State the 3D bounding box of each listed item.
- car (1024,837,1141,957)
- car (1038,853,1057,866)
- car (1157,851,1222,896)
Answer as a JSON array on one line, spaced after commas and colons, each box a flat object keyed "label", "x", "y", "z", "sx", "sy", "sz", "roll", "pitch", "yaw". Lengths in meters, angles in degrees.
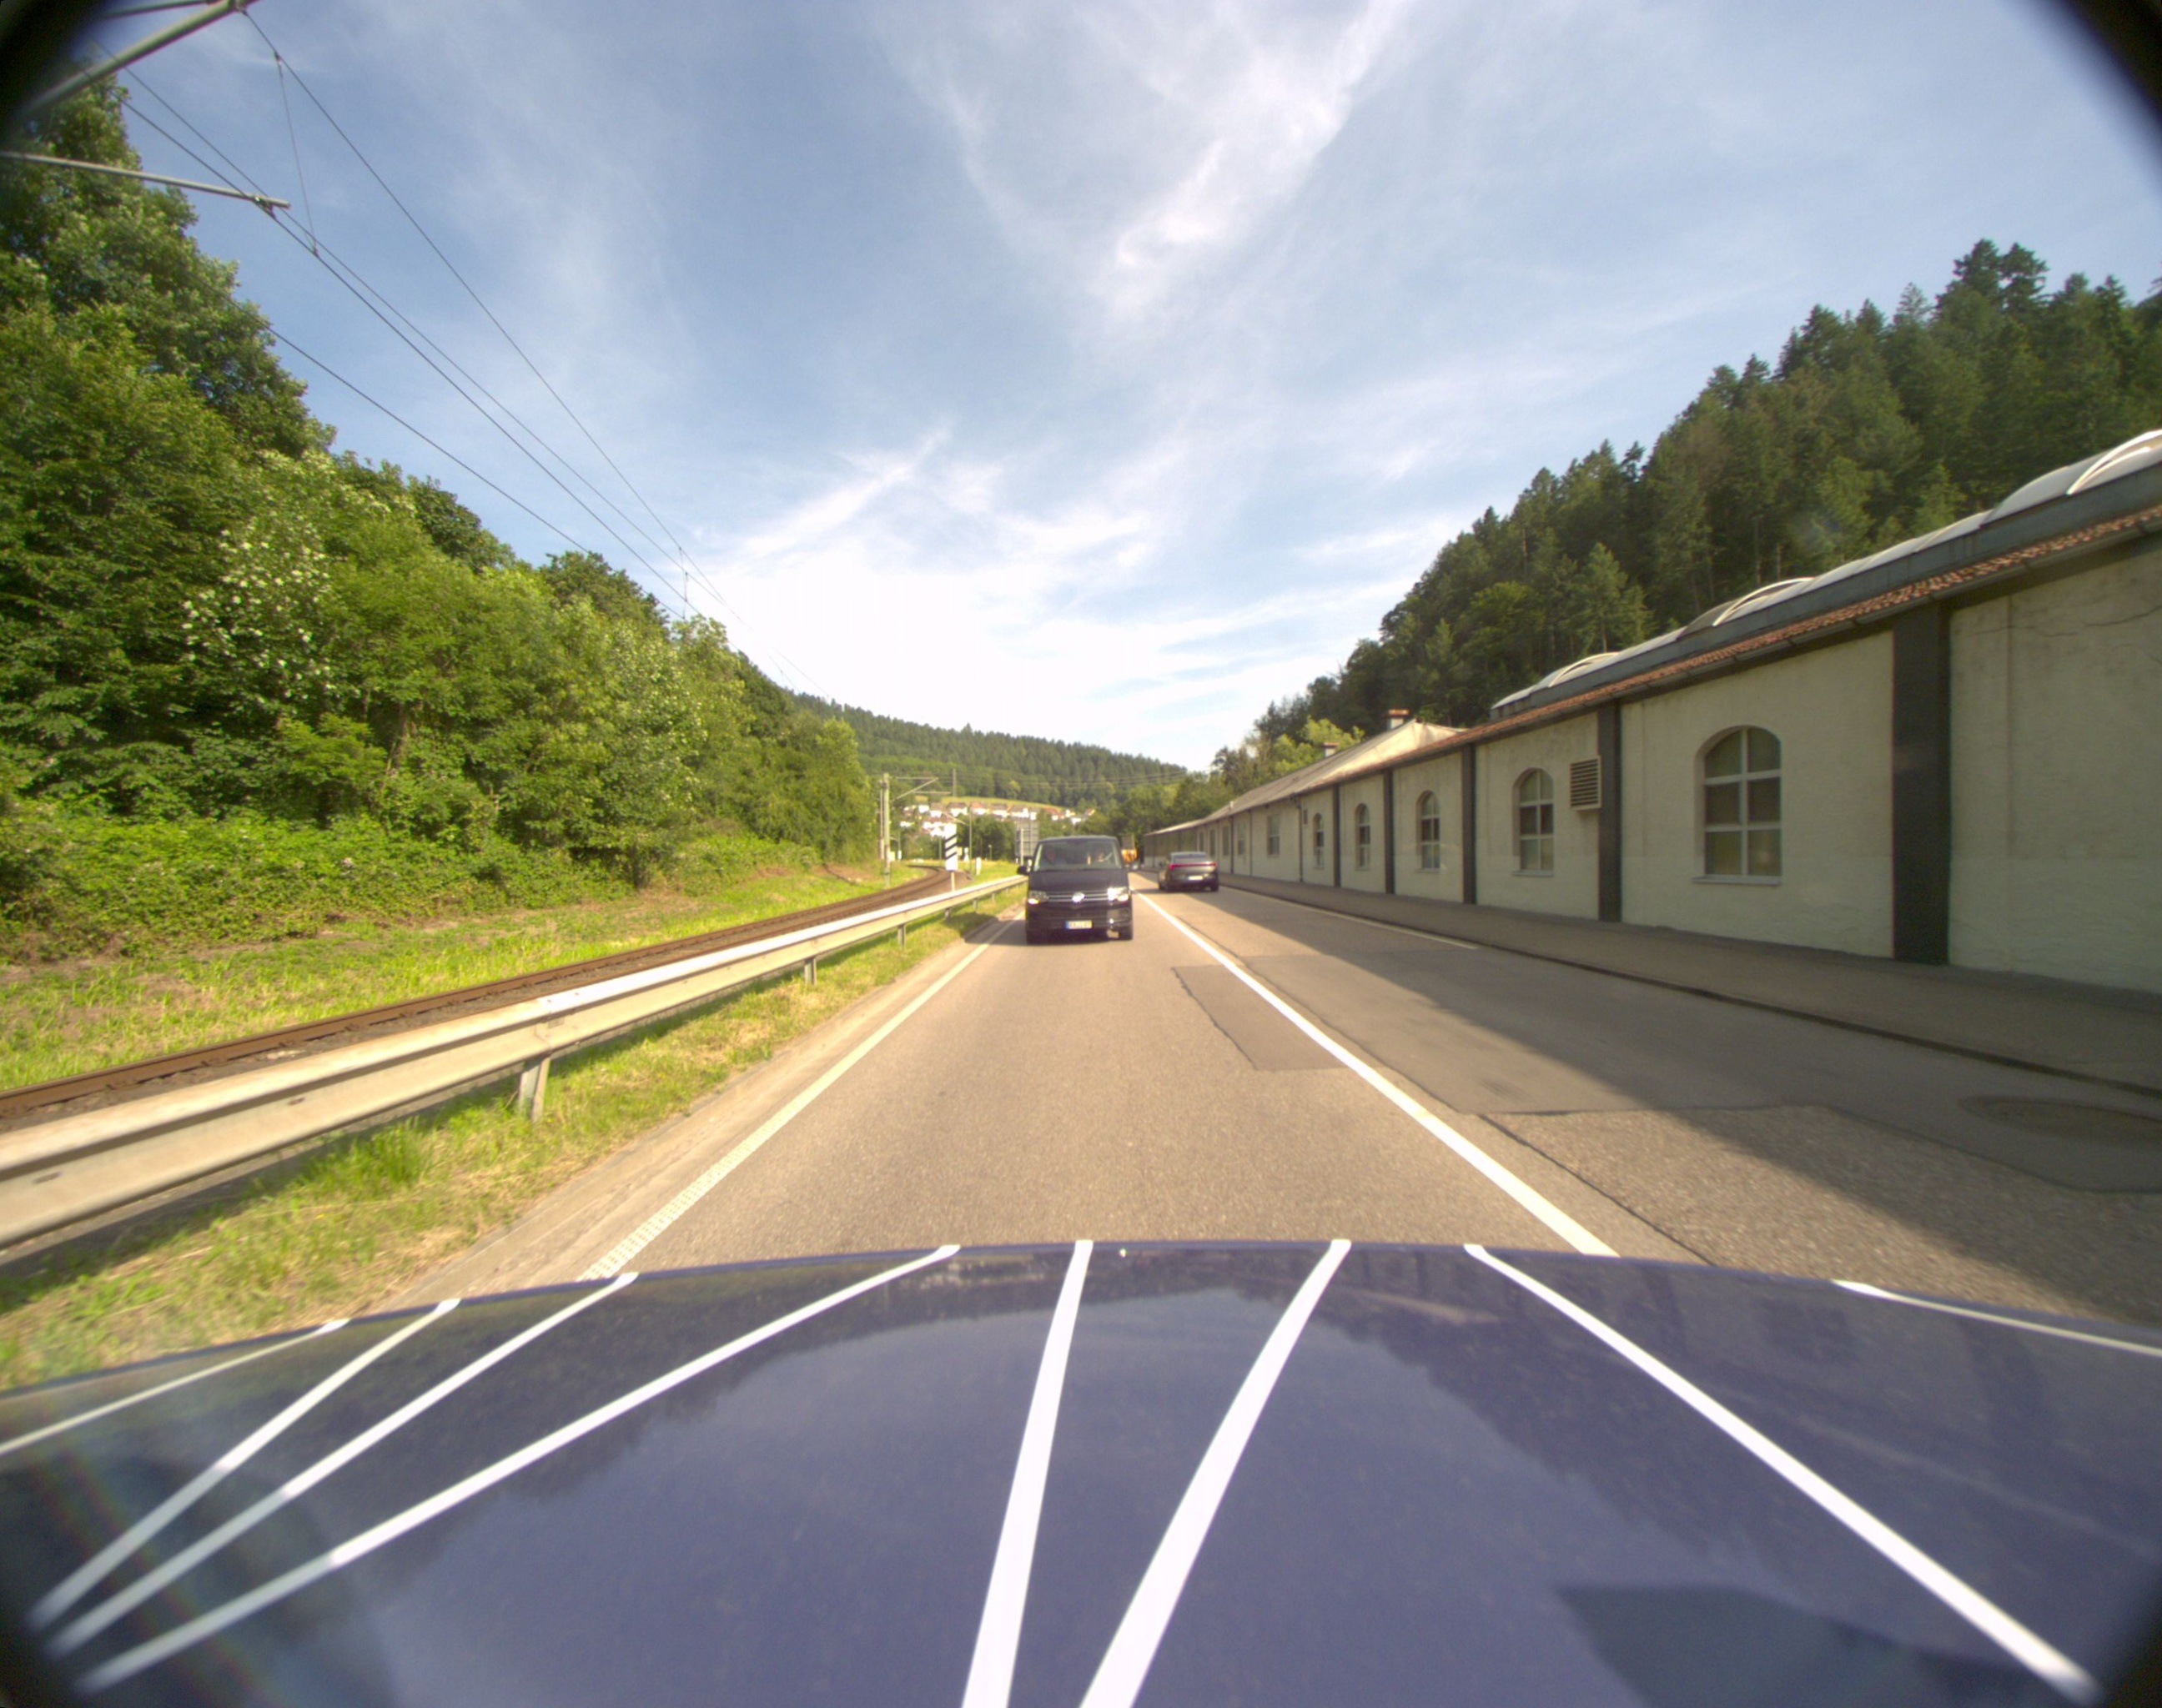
[{"label": "car", "x": -0.075, "y": 0.710, "z": 15.181, "sx": 1.901, "sy": 1.927, "sz": 5.187, "roll": -2, "pitch": 0, "yaw": -2}, {"label": "car", "x": -4.363, "y": 0.752, "z": 99.540, "sx": 1.874, "sy": 1.583, "sz": 4.048, "roll": -3, "pitch": 0, "yaw": -10}, {"label": "car", "x": 4.206, "y": 0.701, "z": 30.102, "sx": 1.934, "sy": 1.572, "sz": 4.458, "roll": -3, "pitch": 0, "yaw": 1}]
